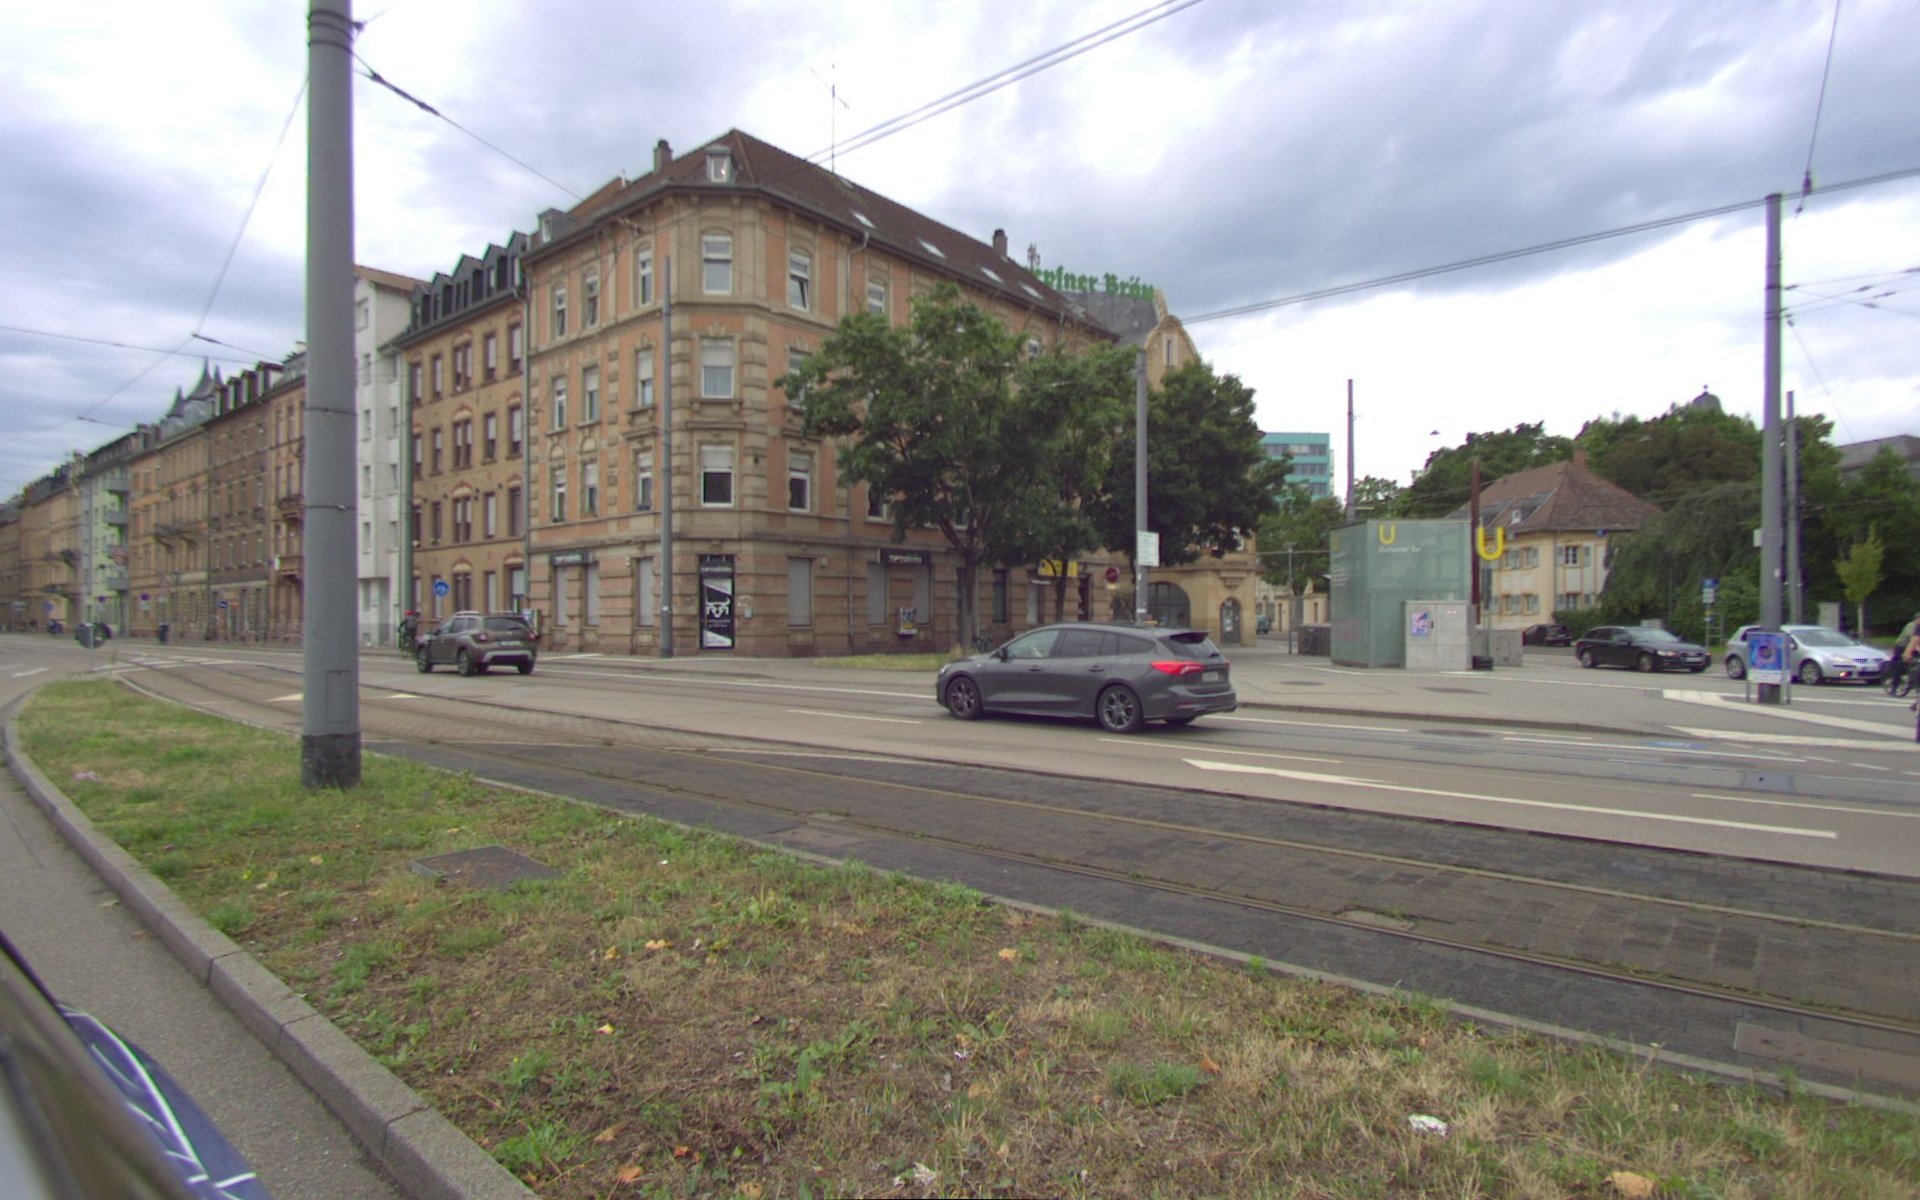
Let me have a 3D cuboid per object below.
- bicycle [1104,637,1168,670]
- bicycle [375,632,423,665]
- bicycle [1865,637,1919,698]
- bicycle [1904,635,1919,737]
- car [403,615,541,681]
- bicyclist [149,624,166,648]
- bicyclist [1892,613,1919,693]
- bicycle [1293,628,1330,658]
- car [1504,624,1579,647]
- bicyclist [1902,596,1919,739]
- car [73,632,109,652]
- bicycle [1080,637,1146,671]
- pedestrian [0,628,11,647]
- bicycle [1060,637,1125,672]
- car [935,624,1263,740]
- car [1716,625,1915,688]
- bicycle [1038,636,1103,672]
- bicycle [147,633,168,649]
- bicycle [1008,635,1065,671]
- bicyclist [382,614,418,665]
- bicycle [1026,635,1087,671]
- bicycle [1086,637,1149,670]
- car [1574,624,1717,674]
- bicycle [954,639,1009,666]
[{"bbox_3d":[5.752,1.731,33.167,0.576,0.994,2.224,0,-1,-39],"label":"bicycle"},{"bbox_3d":[-21.393,1.846,38.565,2.232,1.217,0.816,-2,-3,40],"label":"bicycle"},{"bbox_3d":[19.953,1.383,20.720,0.845,1.217,2.197,0,-1,1],"label":"bicycle"},{"bbox_3d":[12.723,1.086,13.000,0.816,1.252,1.971,-3,-4,43],"label":"bicycle"},{"bbox_3d":[-13.238,1.249,27.356,4.226,1.652,1.780,-1,-1,40],"label":"car"},{"bbox_3d":[-49.922,2.229,62.950,0.941,1.506,0.655,-1,-1,37],"label":"bicyclist"},{"bbox_3d":[19.957,1.084,20.721,0.843,1.635,0.917,0,-2,1],"label":"bicyclist"},{"bbox_3d":[13.927,1.705,40.134,0.730,1.123,2.361,-1,-1,3],"label":"bicycle"},{"bbox_3d":[35.609,2.156,62.093,1.904,1.298,4.006,0,-1,-7],"label":"car"},{"bbox_3d":[12.772,0.856,13.059,0.816,1.812,1.015,-3,-3,43],"label":"bicyclist"},{"bbox_3d":[-68.972,3.303,80.315,3.828,1.491,1.828,-1,-2,43],"label":"car"},{"bbox_3d":[4.795,1.691,31.845,0.601,0.994,2.224,0,-1,-39],"label":"bicycle"},{"bbox_3d":[-104.871,4.087,111.152,0.733,2.029,0.804,-1,-2,41],"label":"pedestrian"},{"bbox_3d":[4.027,1.639,30.848,0.492,0.994,2.224,0,-1,-39],"label":"bicycle"},{"bbox_3d":[1.845,1.050,14.343,4.388,1.406,1.676,-1,-2,39],"label":"car"},{"bbox_3d":[21.892,1.386,26.141,1.739,1.465,4.156,-1,-1,4],"label":"car"},{"bbox_3d":[3.309,1.604,30.516,0.472,1.014,2.224,0,-1,-39],"label":"bicycle"},{"bbox_3d":[-49.886,2.547,62.927,1.716,0.922,0.600,-1,-1,37],"label":"bicycle"},{"bbox_3d":[2.242,1.545,29.763,0.492,0.994,1.872,1,-2,-41],"label":"bicycle"},{"bbox_3d":[-21.321,1.487,38.528,1.048,1.906,0.821,-2,-3,39],"label":"bicyclist"},{"bbox_3d":[2.857,1.562,30.190,0.513,0.994,2.041,0,-1,-39],"label":"bicycle"},{"bbox_3d":[5.028,1.690,32.504,0.492,0.994,2.224,0,-1,-39],"label":"bicycle"},{"bbox_3d":[21.791,1.523,32.386,1.673,1.460,4.144,-1,-1,-1],"label":"car"},{"bbox_3d":[0.805,1.971,38.009,1.982,0.921,0.655,-4,-5,31],"label":"bicycle"}]
